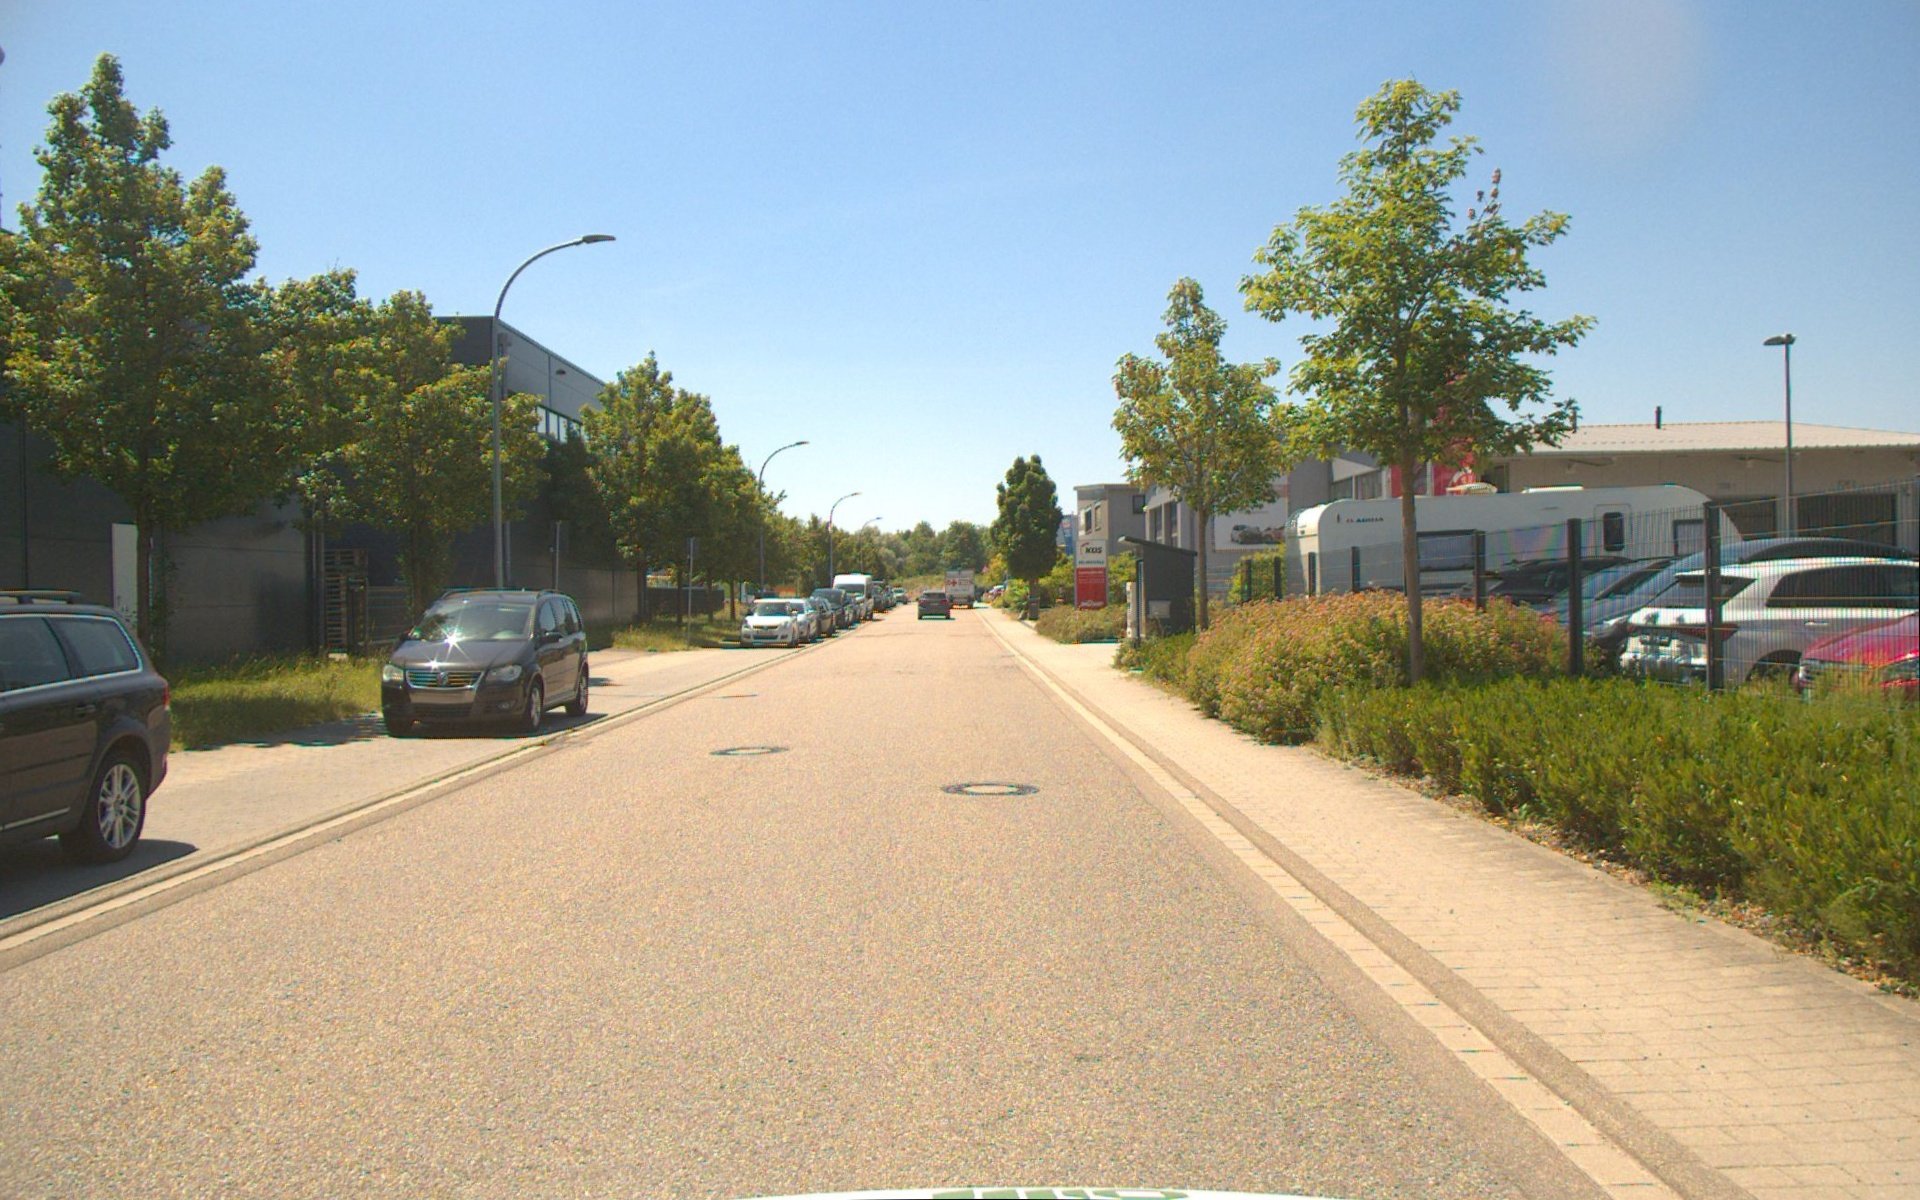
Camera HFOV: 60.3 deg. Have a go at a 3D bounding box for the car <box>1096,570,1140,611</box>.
[{"bbox_3d":[7.545,-0.429,79.366,1.748,1.814,4.906,-2,-1,2],"label":"car"}]

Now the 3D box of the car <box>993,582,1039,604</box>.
[{"bbox_3d":[4.730,-0.612,140.238,3.798,1.780,1.751,1,0,-3],"label":"car"}]

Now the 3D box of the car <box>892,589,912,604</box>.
[{"bbox_3d":[-6.005,-0.364,171.061,1.762,1.513,4.253,-1,1,1],"label":"car"}]

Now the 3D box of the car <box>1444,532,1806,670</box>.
[{"bbox_3d":[8.803,0.008,22.124,4.054,1.563,1.808,-3,0,-1],"label":"car"}]

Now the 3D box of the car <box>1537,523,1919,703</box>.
[{"bbox_3d":[8.582,0.103,17.627,4.167,1.648,1.808,-3,0,-1],"label":"car"}]

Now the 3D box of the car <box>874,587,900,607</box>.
[{"bbox_3d":[-5.763,-0.230,130.578,1.762,1.513,4.253,-1,1,1],"label":"car"}]

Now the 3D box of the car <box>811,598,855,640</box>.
[{"bbox_3d":[-5.789,0.853,75.977,1.762,1.846,4.251,-1,0,-1],"label":"car"}]

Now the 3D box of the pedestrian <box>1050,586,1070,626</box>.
[{"bbox_3d":[4.181,0.242,69.317,0.492,1.641,0.710,-5,0,-18],"label":"pedestrian"}]

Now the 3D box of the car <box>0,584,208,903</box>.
[{"bbox_3d":[-5.804,0.745,8.533,1.735,1.639,4.851,-1,0,-2],"label":"car"}]

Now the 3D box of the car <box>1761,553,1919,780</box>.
[{"bbox_3d":[8.117,0.367,11.897,3.812,1.501,1.806,-2,0,-1],"label":"car"}]

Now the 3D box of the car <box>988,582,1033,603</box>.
[{"bbox_3d":[4.334,-0.624,142.764,3.798,1.780,1.751,1,0,-3],"label":"car"}]

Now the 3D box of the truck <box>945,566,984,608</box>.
[{"bbox_3d":[0.343,-0.957,124.999,2.873,3.026,6.419,1,0,0],"label":"truck"}]

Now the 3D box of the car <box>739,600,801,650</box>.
[{"bbox_3d":[-5.985,0.754,52.421,1.686,1.501,3.855,-1,0,-3],"label":"car"}]

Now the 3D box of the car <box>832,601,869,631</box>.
[{"bbox_3d":[-5.700,0.829,86.456,1.762,1.475,4.251,-1,0,-1],"label":"car"}]

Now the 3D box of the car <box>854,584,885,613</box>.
[{"bbox_3d":[-6.217,-0.120,113.869,1.762,1.881,4.253,-1,1,1],"label":"car"}]

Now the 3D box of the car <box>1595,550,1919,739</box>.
[{"bbox_3d":[7.943,0.325,14.808,3.765,1.465,1.805,-3,0,-4],"label":"car"}]

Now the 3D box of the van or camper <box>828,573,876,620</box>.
[{"bbox_3d":[-6.055,-0.193,93.471,2.035,2.526,6.132,1,0,2],"label":"van or camper"}]

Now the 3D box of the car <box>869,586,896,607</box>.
[{"bbox_3d":[-5.879,-0.293,126.271,1.762,1.513,4.253,-1,1,1],"label":"car"}]

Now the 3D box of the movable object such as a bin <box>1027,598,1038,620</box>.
[{"bbox_3d":[3.603,0.440,81.877,0.520,1.071,0.845,-1,0,1],"label":"movable object such as a bin"}]

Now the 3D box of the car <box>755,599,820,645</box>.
[{"bbox_3d":[-5.959,0.742,57.683,1.762,1.501,4.554,-1,0,0],"label":"car"}]

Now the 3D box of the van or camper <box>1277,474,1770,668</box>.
[{"bbox_3d":[8.480,-0.427,25.431,6.620,2.630,2.635,-2,0,-1],"label":"van or camper"}]

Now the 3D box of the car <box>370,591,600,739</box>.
[{"bbox_3d":[-5.777,0.716,20.653,1.735,1.639,4.246,-1,0,-2],"label":"car"}]

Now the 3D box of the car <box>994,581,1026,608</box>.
[{"bbox_3d":[3.591,-0.371,118.516,1.954,1.835,4.138,-2,0,-3],"label":"car"}]

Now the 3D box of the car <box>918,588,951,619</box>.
[{"bbox_3d":[-1.410,0.164,91.729,1.753,1.652,3.808,1,0,-1],"label":"car"}]
